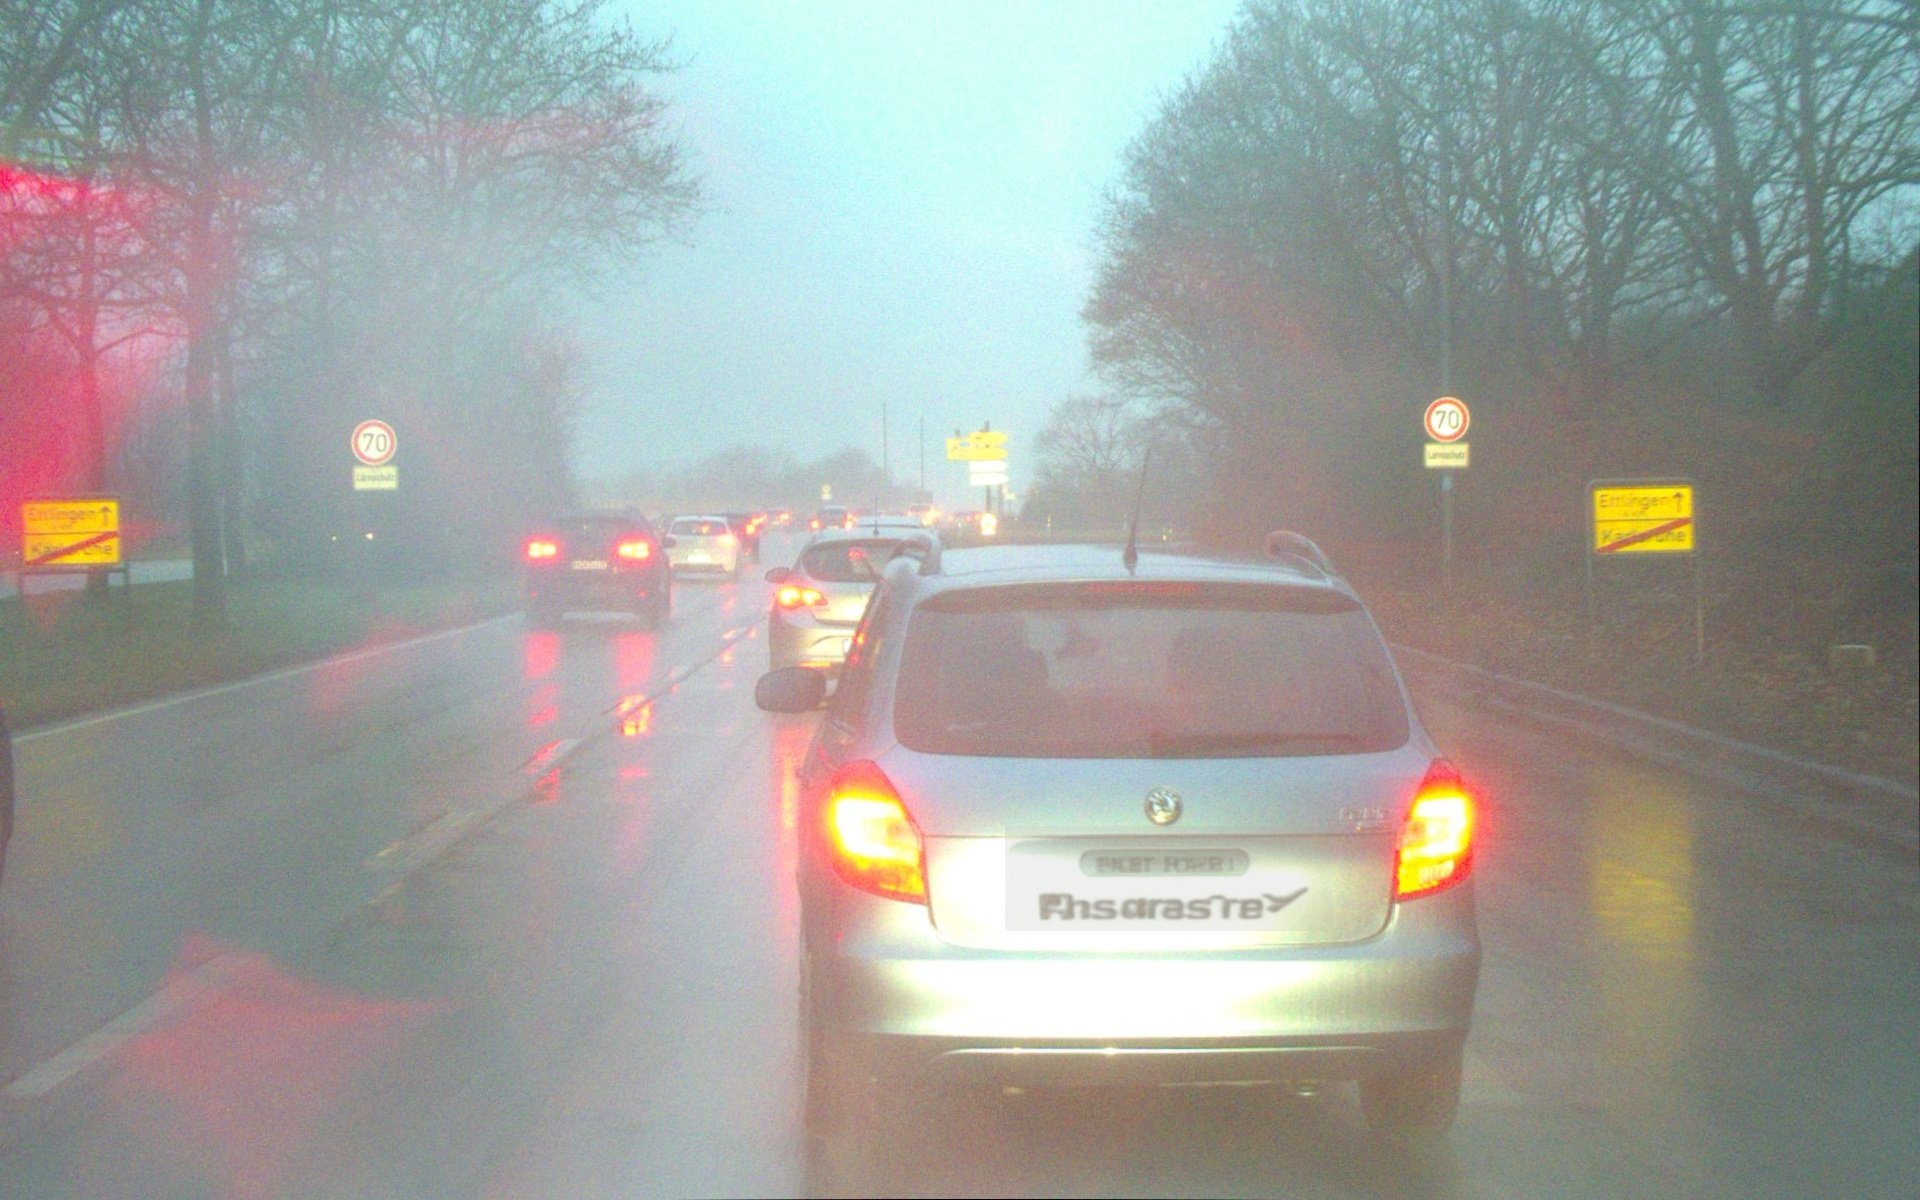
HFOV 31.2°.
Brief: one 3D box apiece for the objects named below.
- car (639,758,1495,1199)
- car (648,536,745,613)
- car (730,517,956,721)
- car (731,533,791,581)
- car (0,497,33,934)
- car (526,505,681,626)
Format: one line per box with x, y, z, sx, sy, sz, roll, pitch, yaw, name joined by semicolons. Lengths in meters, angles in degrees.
0.219;1.399;10.047;1.933;1.642;4.466;1;0;0;car
-5.862;-0.571;76.823;1.822;1.642;4.000;-1;0;0;car
-0.978;0.159;30.440;1.822;1.642;4.466;1;0;0;car
-5.687;-1.221;98.370;1.505;1.334;4.000;-1;0;0;car
-4.454;0.454;11.164;1.822;1.642;4.467;-1;0;-2;car
-5.068;-0.487;49.330;1.822;1.642;4.000;-1;0;0;car
